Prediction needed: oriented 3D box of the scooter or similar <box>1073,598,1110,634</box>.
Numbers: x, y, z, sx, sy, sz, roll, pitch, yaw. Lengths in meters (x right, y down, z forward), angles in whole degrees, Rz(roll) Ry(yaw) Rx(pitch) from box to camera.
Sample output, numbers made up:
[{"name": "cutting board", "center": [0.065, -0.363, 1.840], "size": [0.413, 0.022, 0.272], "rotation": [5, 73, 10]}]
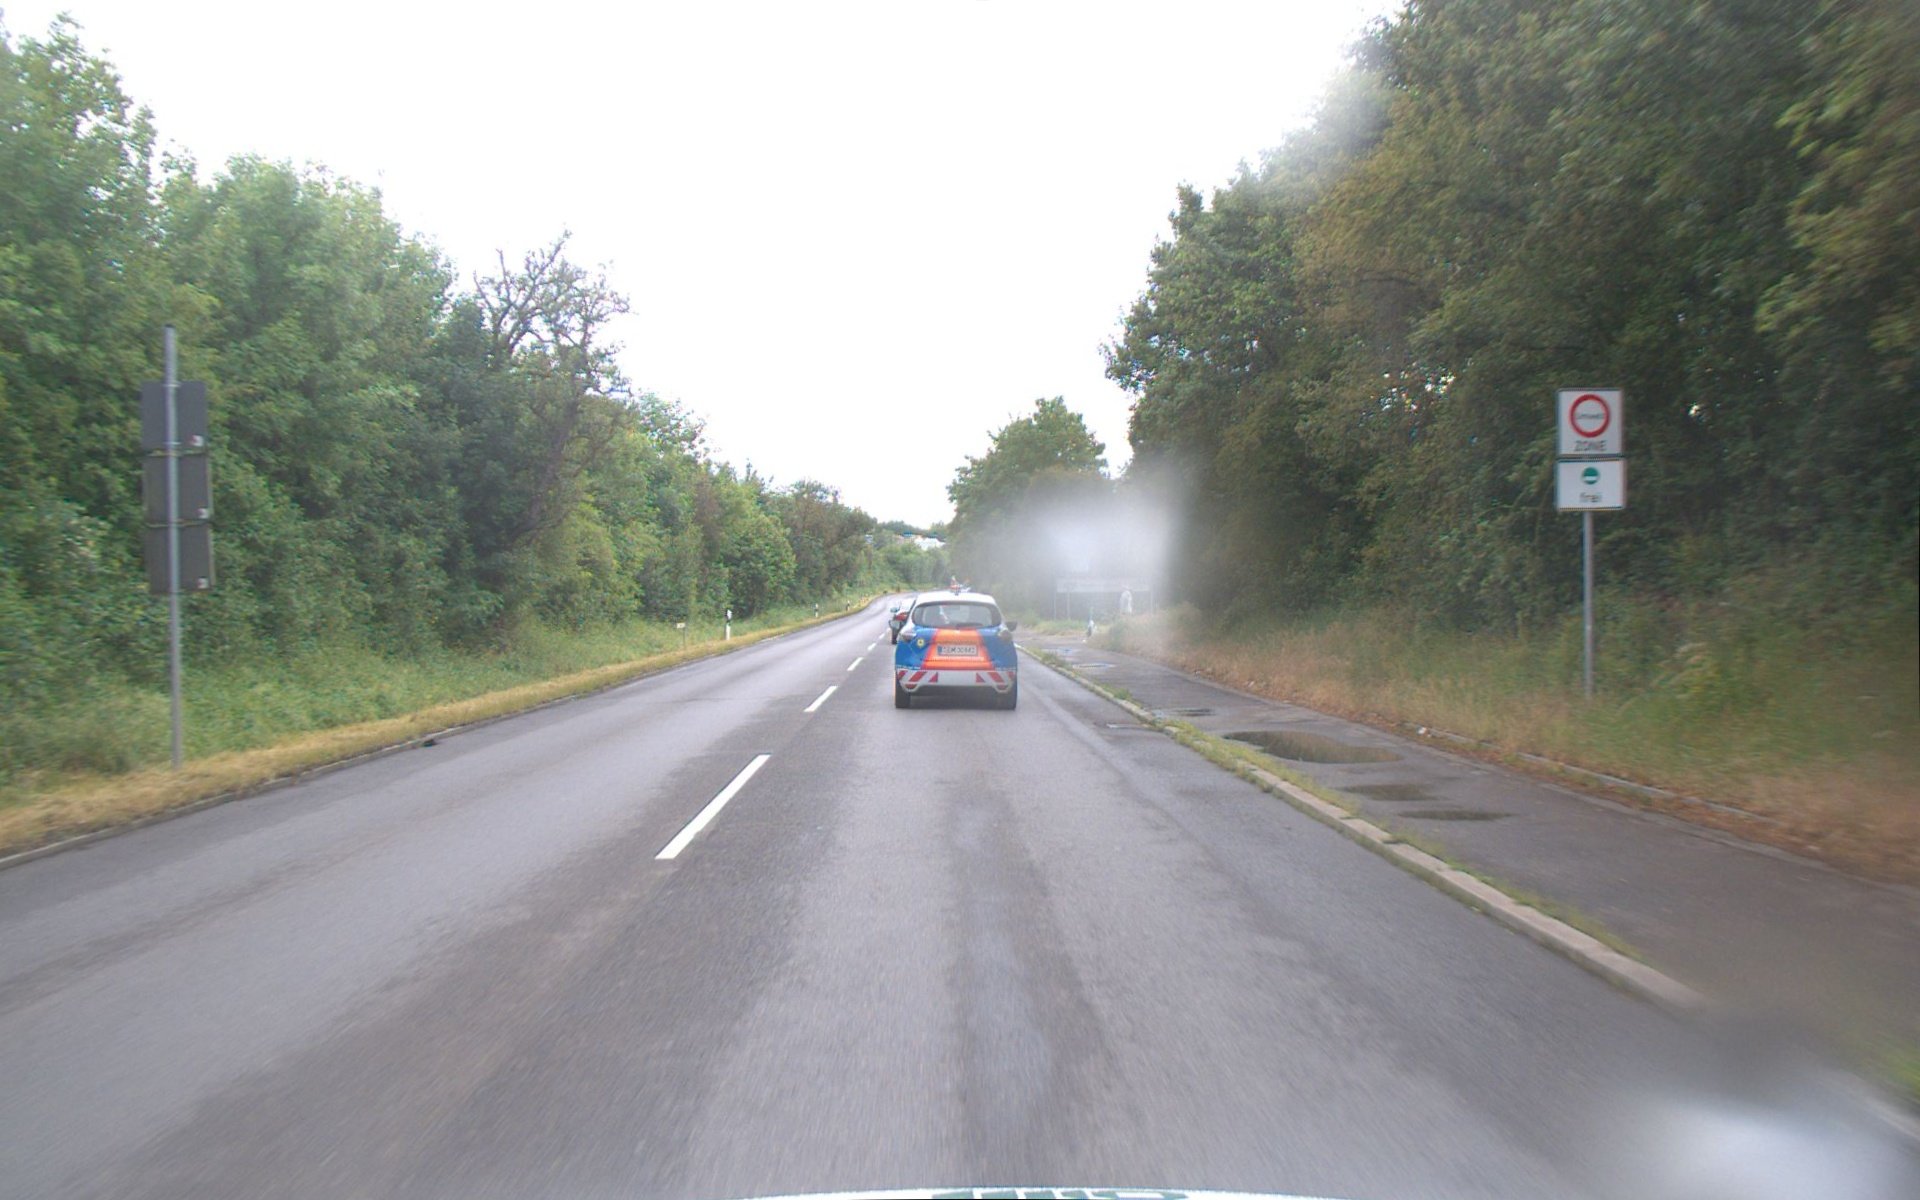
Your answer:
[{"name": "scooter or similar", "center": [4.605, 0.563, 57.936], "size": [1.303, 1.227, 0.372], "rotation": [-1, 0, 40]}]

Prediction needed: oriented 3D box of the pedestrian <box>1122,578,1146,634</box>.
[{"name": "pedestrian", "center": [5.849, 0.191, 55.732], "size": [0.679, 1.859, 0.801], "rotation": [-1, 0, -1]}]

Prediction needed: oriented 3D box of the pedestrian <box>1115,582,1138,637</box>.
[{"name": "pedestrian", "center": [5.520, 0.323, 54.893], "size": [0.647, 1.809, 0.760], "rotation": [-1, 0, -1]}]

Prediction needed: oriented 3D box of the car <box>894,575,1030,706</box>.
[{"name": "car", "center": [-0.024, 0.542, 23.832], "size": [1.769, 1.697, 3.854], "rotation": [1, 0, -2]}]

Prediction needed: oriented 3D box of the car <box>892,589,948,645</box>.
[{"name": "car", "center": [-1.277, 0.510, 51.644], "size": [1.660, 1.623, 3.854], "rotation": [1, 0, -2]}]
